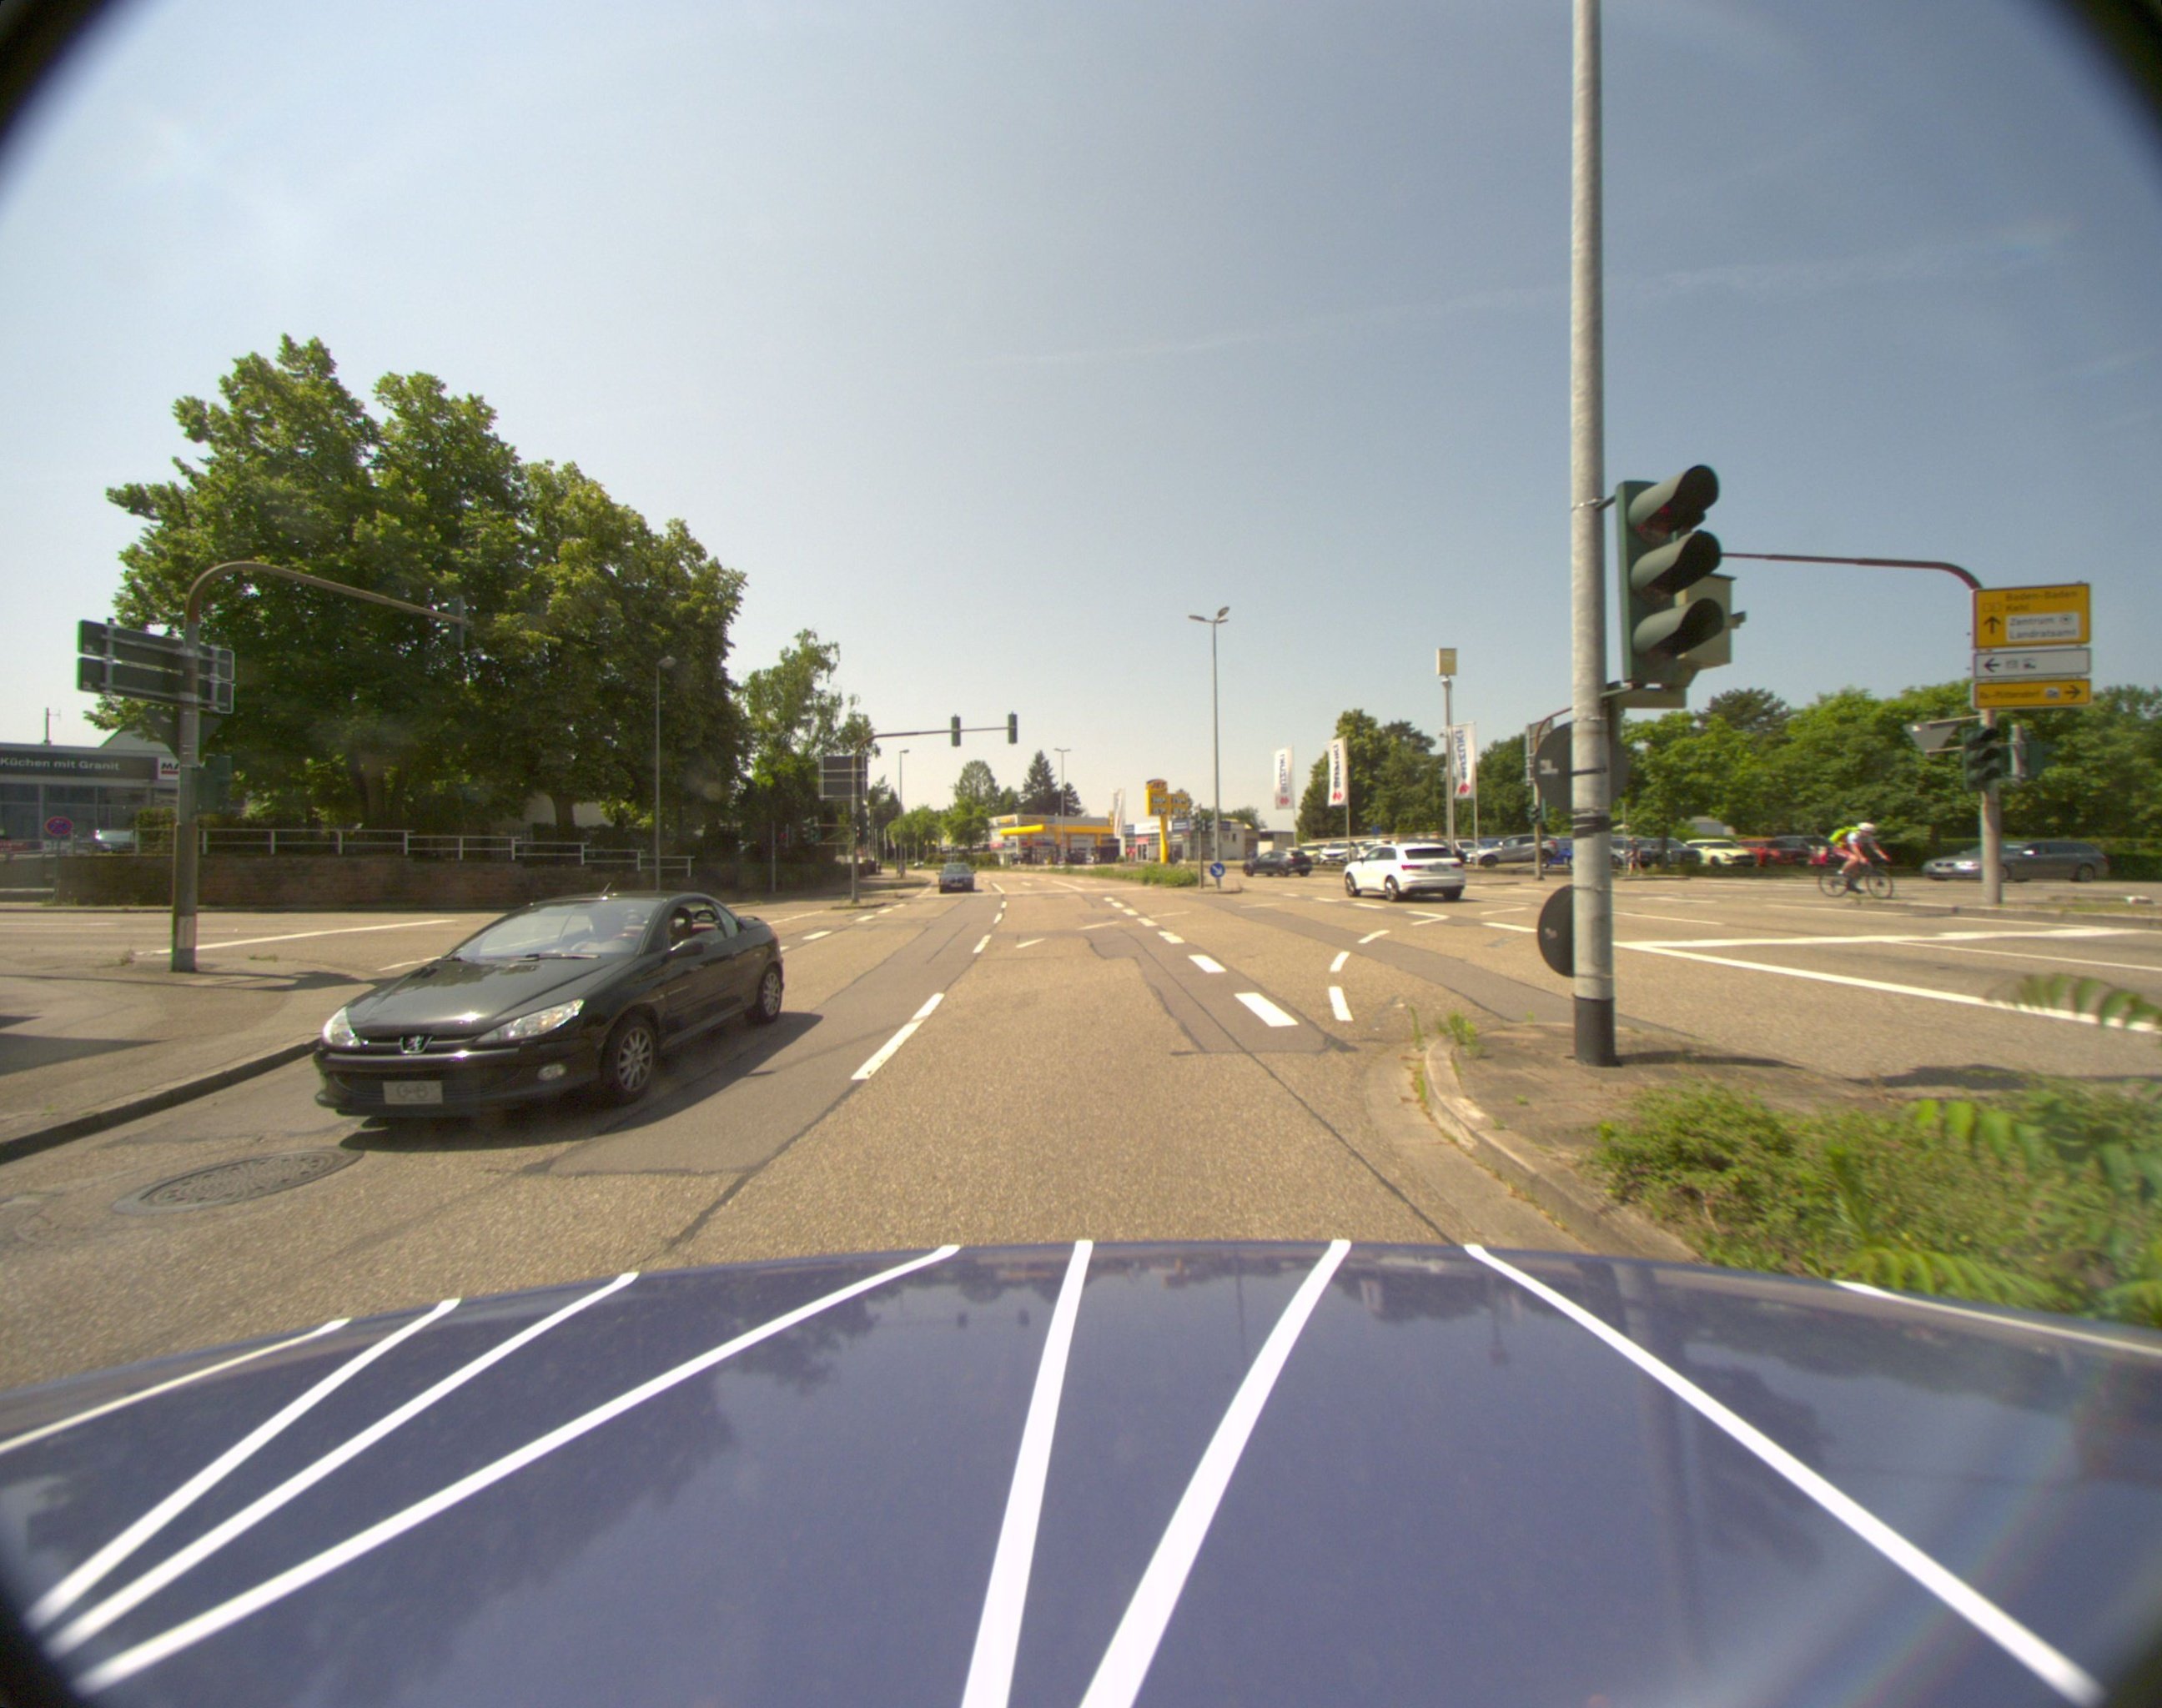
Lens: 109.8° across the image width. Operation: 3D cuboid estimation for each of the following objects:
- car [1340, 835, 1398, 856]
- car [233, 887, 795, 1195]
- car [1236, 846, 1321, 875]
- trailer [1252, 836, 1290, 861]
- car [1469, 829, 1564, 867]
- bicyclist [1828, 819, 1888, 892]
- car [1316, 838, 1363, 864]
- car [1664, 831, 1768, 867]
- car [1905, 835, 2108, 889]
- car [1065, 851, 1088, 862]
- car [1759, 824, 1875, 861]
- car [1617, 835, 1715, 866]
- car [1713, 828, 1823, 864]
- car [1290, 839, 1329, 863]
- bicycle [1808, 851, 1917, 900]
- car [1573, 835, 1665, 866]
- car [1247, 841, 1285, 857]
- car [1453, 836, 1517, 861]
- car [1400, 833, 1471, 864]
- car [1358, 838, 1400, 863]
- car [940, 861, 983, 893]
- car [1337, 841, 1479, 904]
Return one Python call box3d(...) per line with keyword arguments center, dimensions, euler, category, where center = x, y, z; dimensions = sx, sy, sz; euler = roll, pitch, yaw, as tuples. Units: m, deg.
box3d(center=(24.487, -0.683, 64.793), dimensions=(1.696, 1.640, 4.747), euler=(-2, 0, -27), category="car")
box3d(center=(-3.735, 1.087, 5.922), dimensions=(1.604, 1.416, 3.661), euler=(-3, 0, -1), category="car")
box3d(center=(11.125, 0.388, 43.104), dimensions=(2.007, 1.477, 4.430), euler=(-3, 1, -33), category="car")
box3d(center=(13.851, -0.385, 55.273), dimensions=(1.689, 1.694, 2.439), euler=(-1, 1, 41), category="trailer")
box3d(center=(23.356, -0.338, 40.866), dimensions=(4.297, 1.891, 1.832), euler=(0, 2, 30), category="car")
box3d(center=(17.886, 0.038, 17.506), dimensions=(0.422, 1.633, 0.820), euler=(-3, 0, -11), category="bicyclist")
box3d(center=(16.815, -0.231, 49.347), dimensions=(1.913, 1.532, 3.969), euler=(-2, 1, 33), category="car")
box3d(center=(33.375, -0.263, 40.067), dimensions=(1.907, 1.697, 3.997), euler=(-3, 1, -6), category="car")
box3d(center=(31.652, 0.251, 26.080), dimensions=(4.759, 1.601, 1.762), euler=(-2, 1, 1), category="car")
box3d(center=(-0.696, 0.408, 111.118), dimensions=(1.659, 1.534, 4.204), euler=(-3, 1, -26), category="car")
box3d(center=(38.343, -0.581, 39.734), dimensions=(1.999, 1.740, 3.997), euler=(-3, 1, -6), category="car")
box3d(center=(31.041, -0.205, 40.466), dimensions=(1.841, 1.561, 3.997), euler=(-1, 1, -7), category="car")
box3d(center=(35.715, -0.414, 39.659), dimensions=(1.868, 1.674, 3.997), euler=(-3, 1, -6), category="car")
box3d(center=(15.572, -0.236, 51.660), dimensions=(1.753, 1.501, 3.826), euler=(-2, 1, 29), category="car")
box3d(center=(17.913, 0.494, 17.471), dimensions=(0.422, 1.047, 1.788), euler=(-3, -1, -10), category="bicycle")
box3d(center=(28.763, -0.211, 40.786), dimensions=(1.795, 1.528, 3.997), euler=(-3, 1, -6), category="car")
box3d(center=(17.989, -0.488, 73.918), dimensions=(1.696, 1.497, 3.624), euler=(-2, 0, -25), category="car")
box3d(center=(27.048, -0.390, 51.015), dimensions=(1.795, 1.528, 3.997), euler=(-3, 1, -6), category="car")
box3d(center=(20.499, -0.349, 44.125), dimensions=(1.846, 1.714, 4.010), euler=(-2, 2, -7), category="car")
box3d(center=(18.393, -0.236, 46.877), dimensions=(1.711, 1.424, 3.969), euler=(0, 2, 32), category="car")
box3d(center=(-5.744, 1.064, 36.764), dimensions=(1.698, 1.365, 3.998), euler=(-1, 1, -4), category="car")
box3d(center=(9.117, 0.461, 21.682), dimensions=(1.822, 1.561, 4.554), euler=(-2, 0, -4), category="car")
